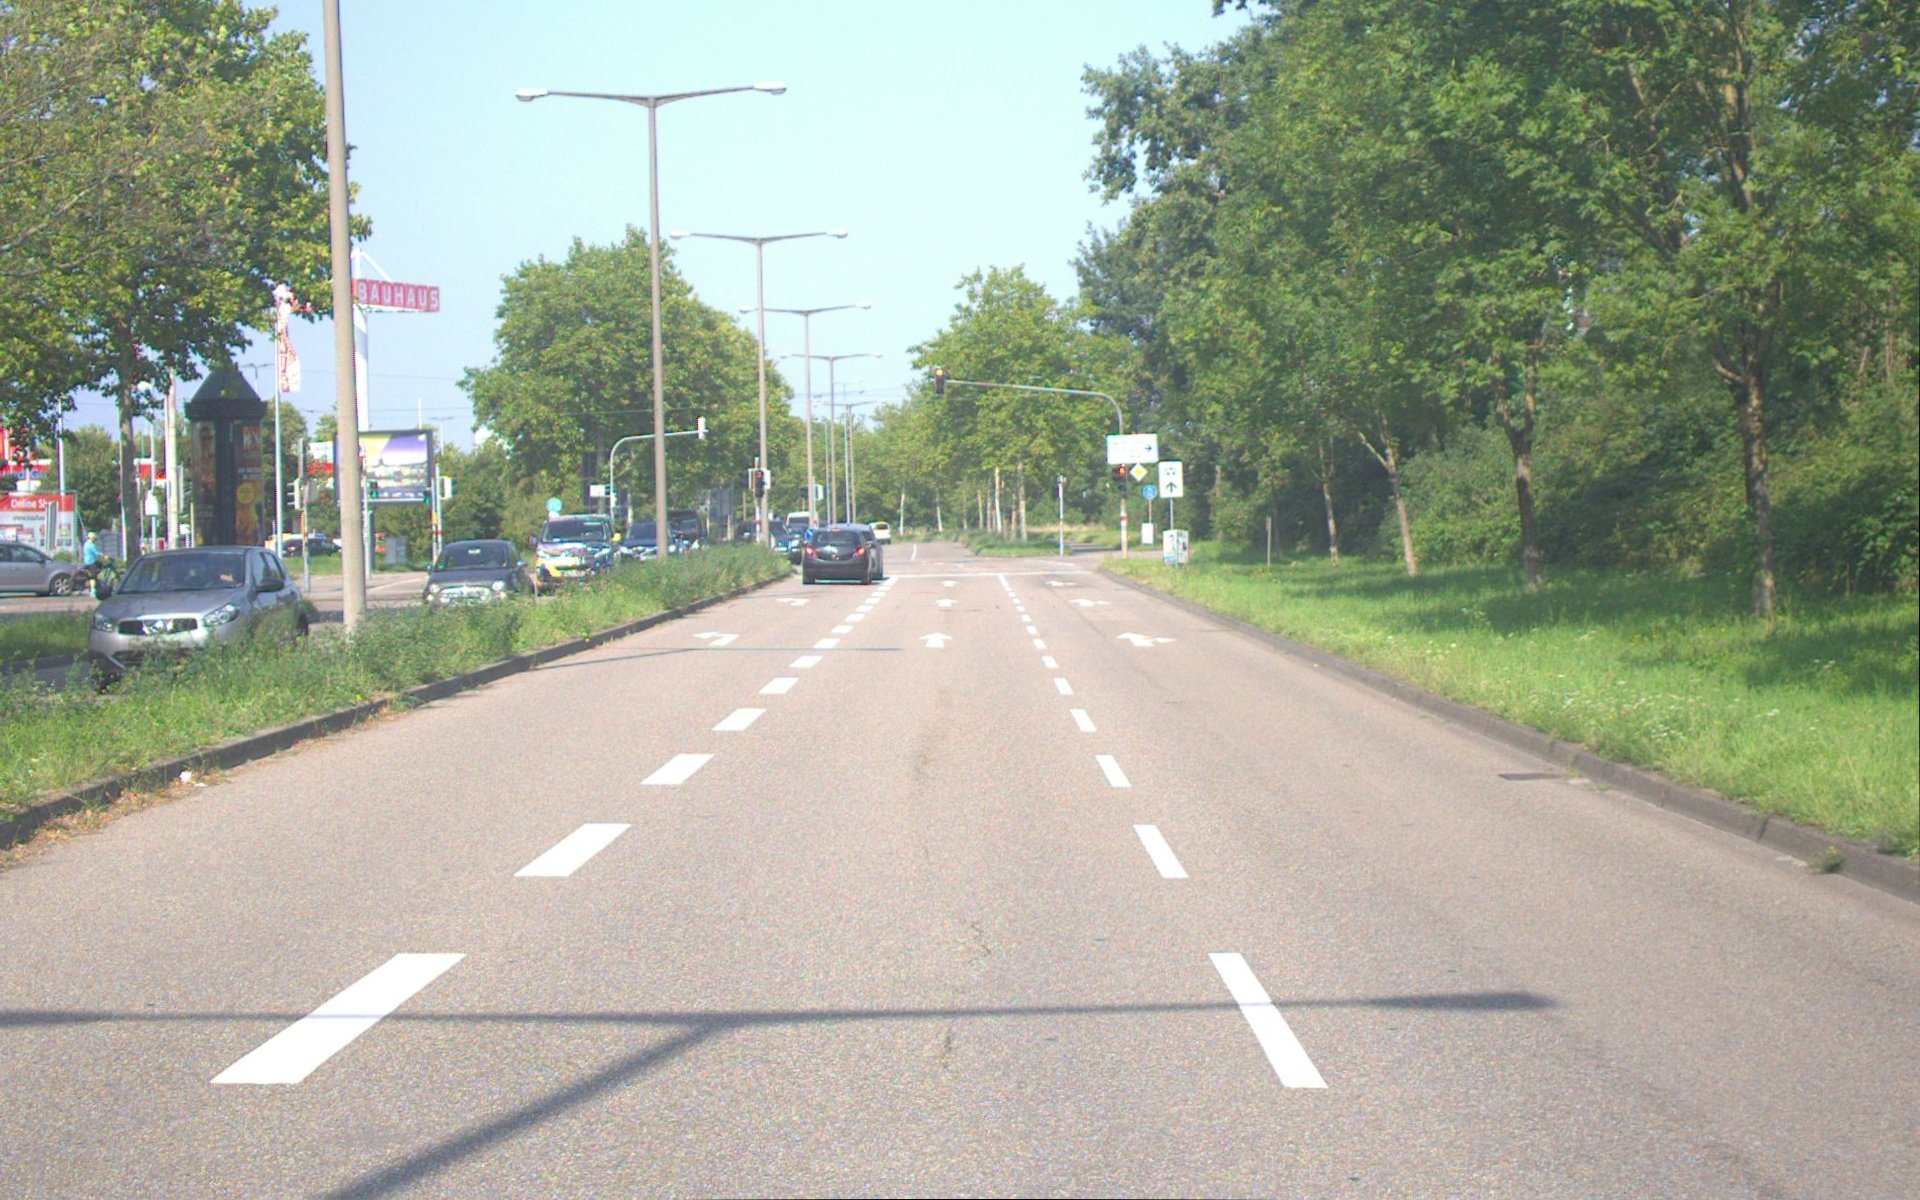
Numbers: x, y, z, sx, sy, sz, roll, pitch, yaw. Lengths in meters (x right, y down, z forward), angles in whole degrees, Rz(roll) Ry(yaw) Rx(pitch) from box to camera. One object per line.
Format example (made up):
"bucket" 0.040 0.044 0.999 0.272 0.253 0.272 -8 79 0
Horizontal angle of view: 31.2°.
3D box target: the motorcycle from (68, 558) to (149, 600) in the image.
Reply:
"motorcycle" -23.501 -0.589 94.899 2.069 1.132 0.677 -1 1 -35

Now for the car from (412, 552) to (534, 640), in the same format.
"car" -8.533 -0.090 60.451 1.676 1.481 3.493 0 1 -1

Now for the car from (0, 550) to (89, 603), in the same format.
"car" -26.441 -0.660 96.272 3.691 1.438 1.466 -1 1 -36

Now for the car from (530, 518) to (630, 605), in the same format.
"car" -9.283 -0.949 84.248 1.932 2.021 4.567 -2 1 -1

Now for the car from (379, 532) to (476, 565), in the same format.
"car" -20.470 -1.986 132.264 3.376 1.133 1.493 -2 1 9

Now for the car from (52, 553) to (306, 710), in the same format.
"car" -8.674 0.305 38.530 1.879 1.588 4.108 -2 1 0

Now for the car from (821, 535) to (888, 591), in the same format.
"car" -2.896 -1.032 95.105 1.692 1.480 4.000 -2 1 0

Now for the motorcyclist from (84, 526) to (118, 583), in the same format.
"motorcyclist" -23.684 -1.254 94.759 0.681 1.566 0.683 -1 1 -35

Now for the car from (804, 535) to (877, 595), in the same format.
"car" -3.064 -0.920 88.581 1.692 1.480 4.000 -2 1 0

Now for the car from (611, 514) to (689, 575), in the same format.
"car" -9.714 -1.739 107.877 1.993 1.700 4.505 -5 1 -1
